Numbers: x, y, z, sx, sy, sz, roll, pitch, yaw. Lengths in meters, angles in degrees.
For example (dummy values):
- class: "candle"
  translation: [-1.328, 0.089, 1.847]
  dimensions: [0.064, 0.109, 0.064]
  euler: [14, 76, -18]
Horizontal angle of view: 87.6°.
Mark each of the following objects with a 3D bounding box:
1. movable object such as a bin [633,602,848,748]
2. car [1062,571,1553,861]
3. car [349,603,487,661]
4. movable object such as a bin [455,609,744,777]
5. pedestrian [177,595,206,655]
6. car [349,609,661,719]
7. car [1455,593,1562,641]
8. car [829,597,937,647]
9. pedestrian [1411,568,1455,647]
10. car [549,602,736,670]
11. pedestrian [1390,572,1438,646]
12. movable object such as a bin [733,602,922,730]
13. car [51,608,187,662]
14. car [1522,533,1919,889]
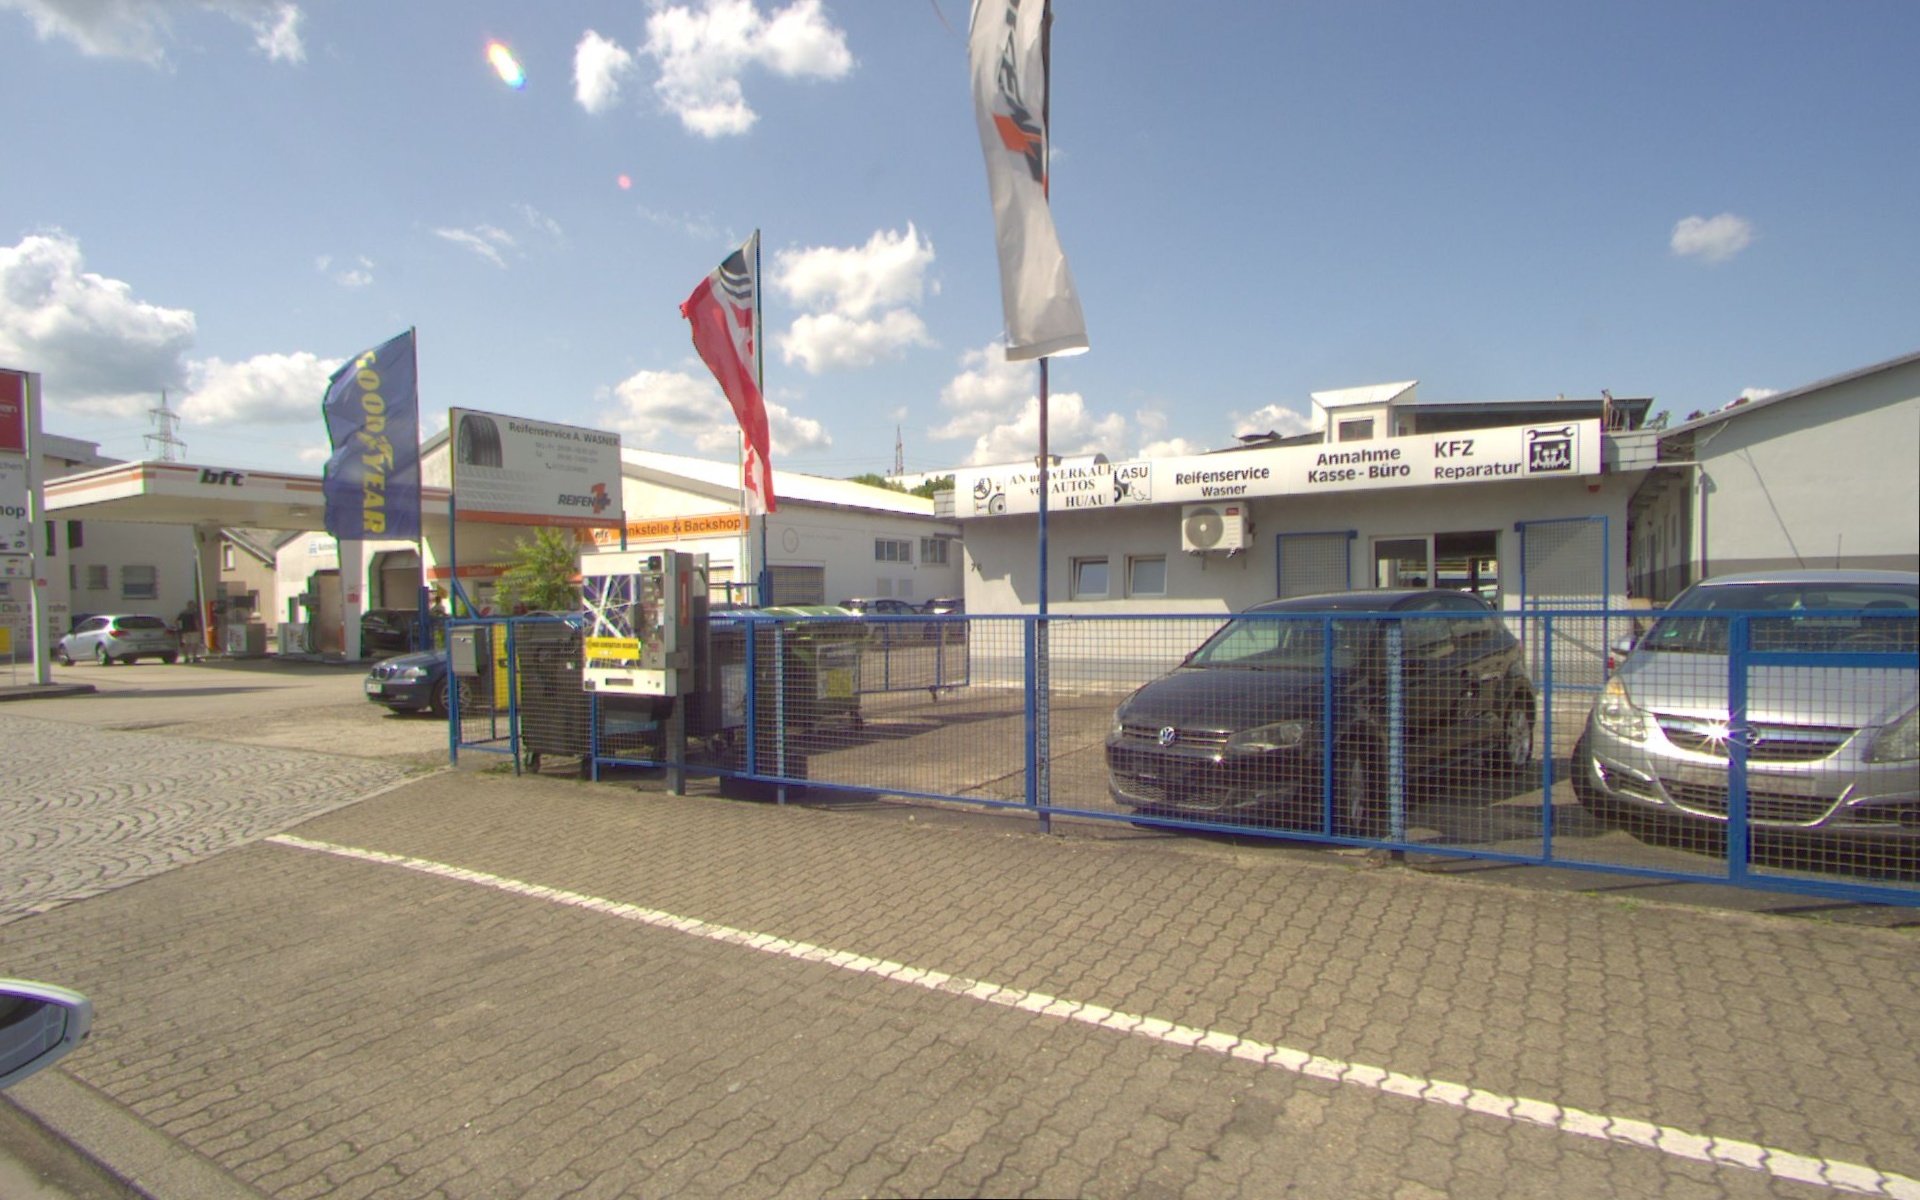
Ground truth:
- class: "movable object such as a bin"
  translation: [-2.374, 0.780, 10.948]
  dimensions: [1.740, 1.428, 1.530]
  euler: [-1, -2, 31]
- class: "car"
  translation: [2.646, 0.595, 7.138]
  dimensions: [3.867, 1.482, 1.612]
  euler: [-2, 0, -42]
- class: "car"
  translation: [-16.189, 0.894, 29.873]
  dimensions: [4.427, 1.540, 1.679]
  euler: [1, 1, 32]
- class: "movable object such as a bin"
  translation: [-3.332, 0.808, 9.426]
  dimensions: [1.684, 1.364, 1.960]
  euler: [-1, -2, 31]
- class: "pedestrian"
  translation: [-23.149, 0.750, 30.155]
  dimensions: [0.569, 1.799, 0.496]
  euler: [-1, -1, 30]
- class: "car"
  translation: [-6.710, 0.886, 15.163]
  dimensions: [1.626, 1.426, 4.040]
  euler: [-1, -1, 37]
- class: "car"
  translation: [21.009, 0.656, 38.419]
  dimensions: [3.545, 1.764, 1.534]
  euler: [0, -1, 31]
- class: "car"
  translation: [-2.348, 0.669, 31.428]
  dimensions: [1.507, 1.443, 3.574]
  euler: [-1, 0, 33]
- class: "pedestrian"
  translation: [8.109, 0.139, 17.198]
  dimensions: [0.624, 1.318, 0.698]
  euler: [-1, -1, 22]
- class: "car"
  translation: [-7.535, 0.815, 24.130]
  dimensions: [1.747, 1.443, 4.124]
  euler: [-1, 0, 33]
- class: "pedestrian"
  translation: [8.286, 0.179, 18.282]
  dimensions: [0.690, 1.318, 0.632]
  euler: [-1, -2, 35]
- class: "movable object such as a bin"
  translation: [-1.605, 0.784, 12.291]
  dimensions: [1.740, 1.428, 1.530]
  euler: [-1, -2, 31]
- class: "car"
  translation: [-25.286, 1.046, 30.082]
  dimensions: [4.357, 1.490, 1.689]
  euler: [-2, 1, 30]
- class: "car"
  translation: [5.249, 0.544, 6.214]
  dimensions: [4.219, 1.524, 1.811]
  euler: [2, -3, -42]
